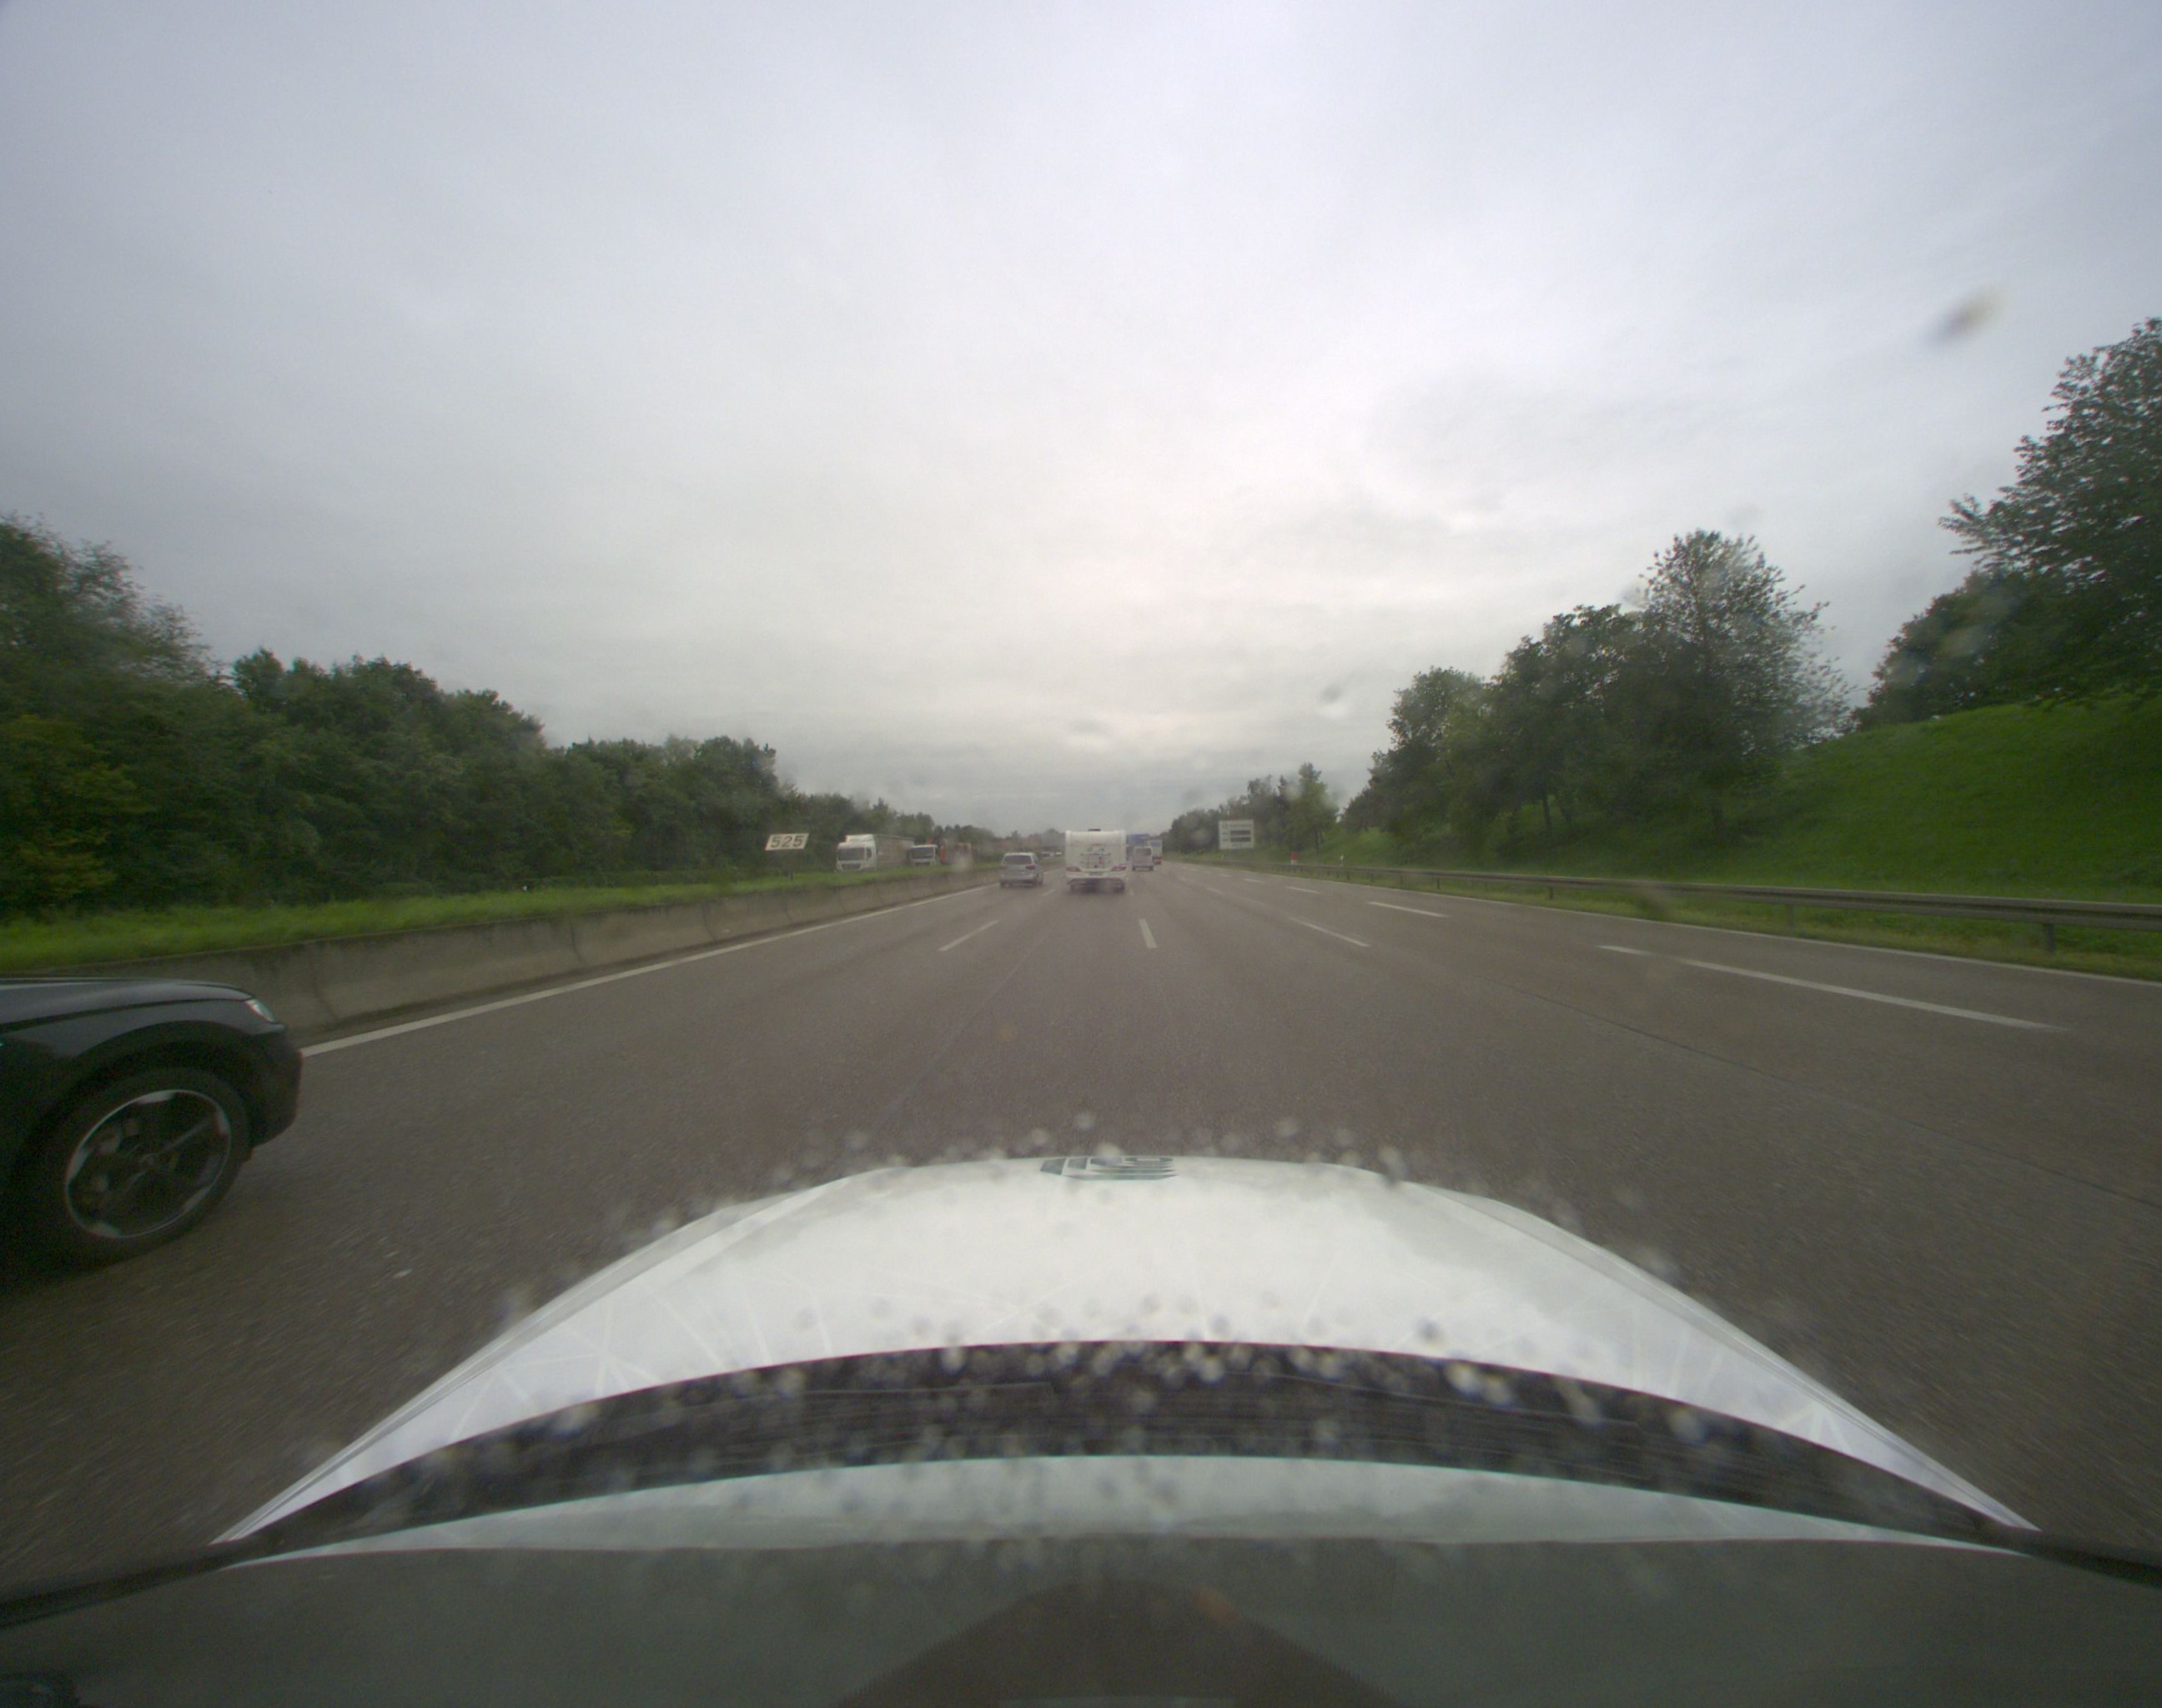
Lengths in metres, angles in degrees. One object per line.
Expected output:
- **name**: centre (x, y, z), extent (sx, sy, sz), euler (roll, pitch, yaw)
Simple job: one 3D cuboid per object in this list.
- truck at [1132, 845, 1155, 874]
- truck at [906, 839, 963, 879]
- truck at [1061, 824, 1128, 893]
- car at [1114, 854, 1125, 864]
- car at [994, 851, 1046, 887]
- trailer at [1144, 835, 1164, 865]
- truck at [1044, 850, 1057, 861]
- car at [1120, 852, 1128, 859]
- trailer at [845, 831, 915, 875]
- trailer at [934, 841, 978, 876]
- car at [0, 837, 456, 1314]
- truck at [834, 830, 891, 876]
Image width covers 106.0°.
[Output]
- **truck**: centre (6.182, 0.554, 81.007), extent (2.045, 2.770, 5.551), euler (0, -1, 2)
- **truck**: centre (-13.341, 0.465, 75.395), extent (2.940, 3.466, 11.189), euler (0, -1, 2)
- **truck**: centre (0.622, 0.198, 34.990), extent (2.651, 2.742, 5.079), euler (0, -1, 2)
- **car**: centre (6.653, 0.902, 141.396), extent (1.807, 1.740, 3.883), euler (0, -1, 2)
- **car**: centre (-2.994, 0.743, 40.773), extent (2.120, 1.706, 4.114), euler (0, -1, 2)
- **trailer**: centre (12.271, -0.631, 137.743), extent (3.087, 4.922, 11.800), euler (0, -1, 3)
- **truck**: centre (-9.006, 0.395, 240.796), extent (2.872, 3.221, 11.367), euler (0, -1, 3)
- **car**: centre (12.168, 0.416, 230.964), extent (1.986, 2.013, 4.002), euler (-1, 0, 2)
- **trailer**: centre (-17.443, -0.013, 71.621), extent (2.675, 3.540, 11.877), euler (0, -1, 3)
- **trailer**: centre (-13.010, 0.466, 85.254), extent (2.920, 3.459, 8.325), euler (0, -1, 2)
- **car**: centre (-4.642, 0.743, 2.090), extent (1.986, 1.600, 5.125), euler (0, -1, 2)
- **truck**: centre (-17.666, -0.025, 66.246), extent (2.656, 3.551, 6.763), euler (0, -1, 2)
